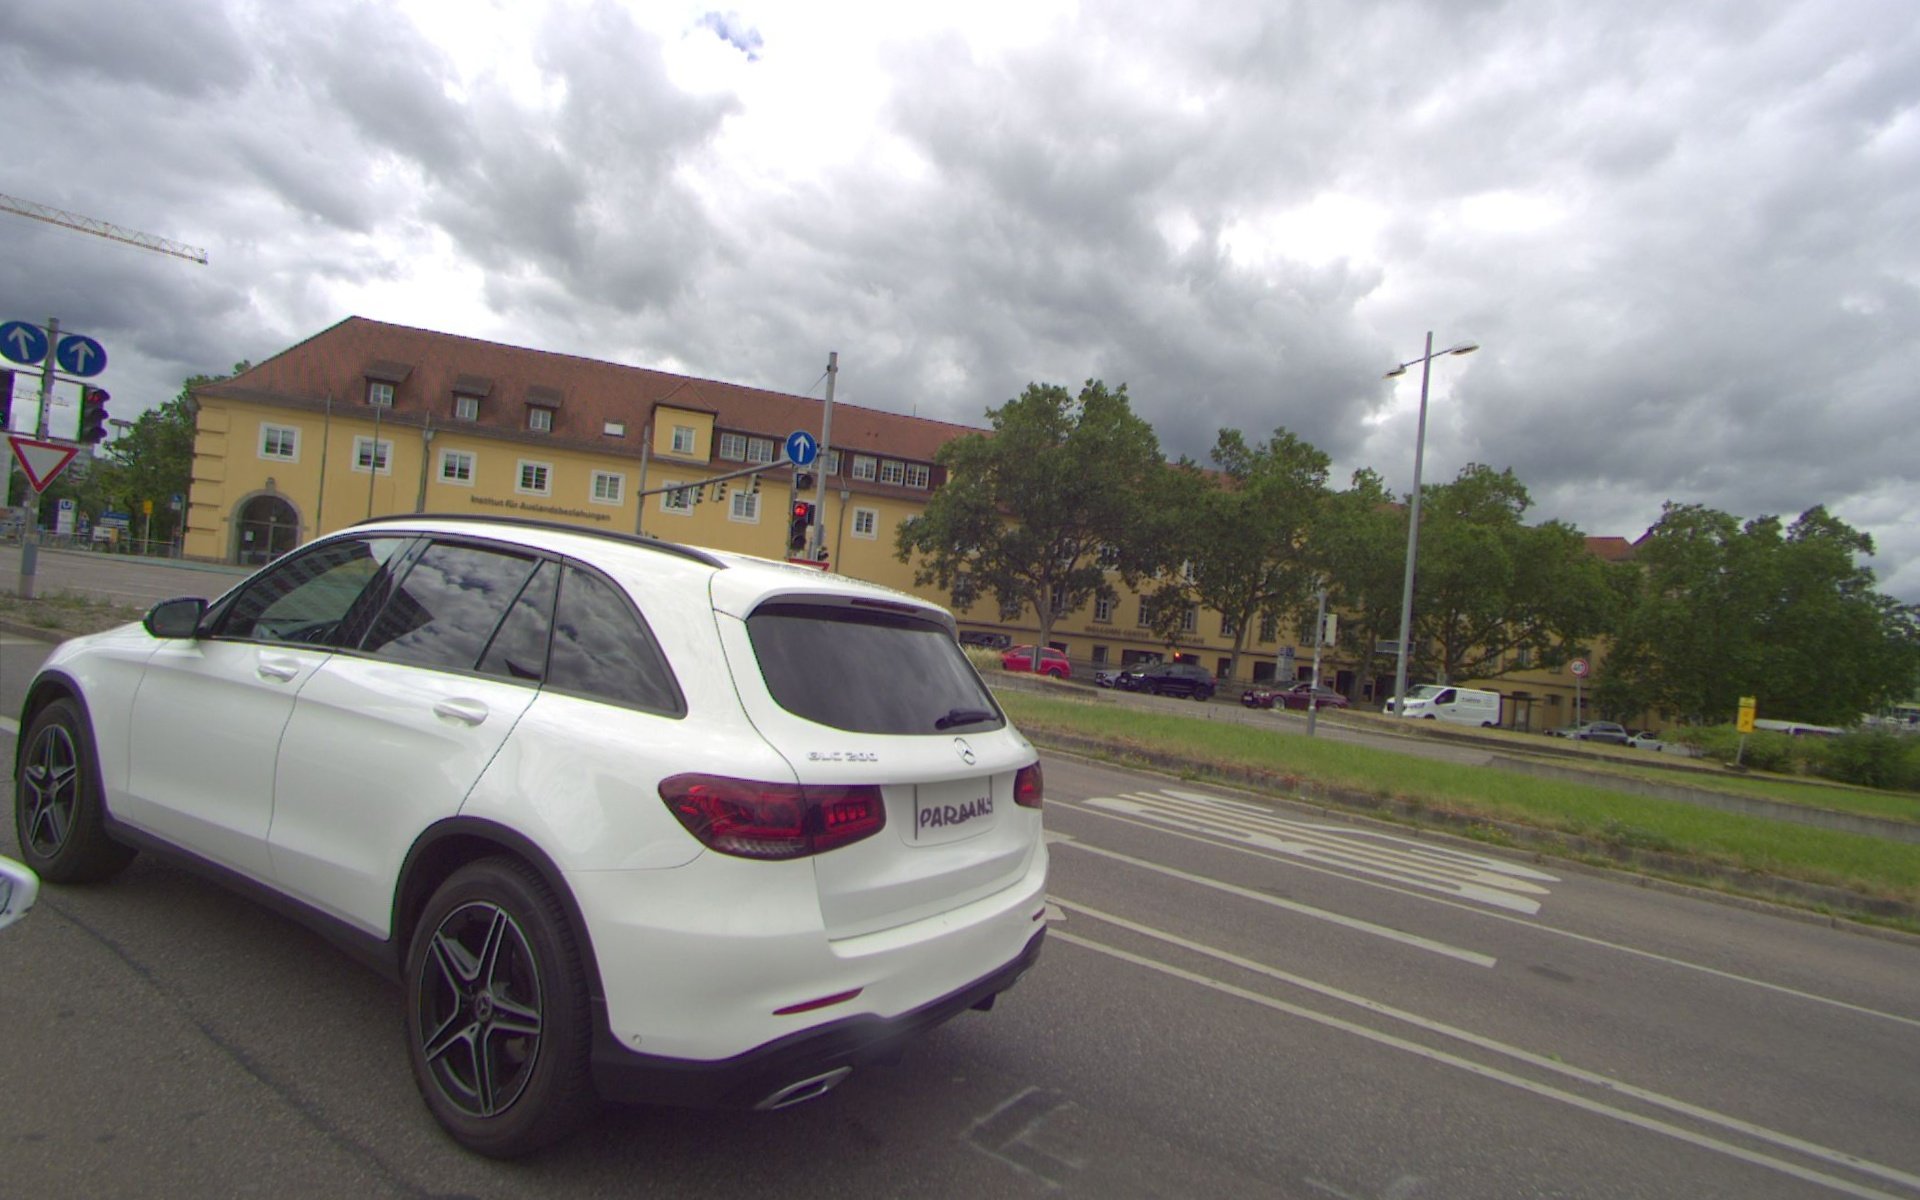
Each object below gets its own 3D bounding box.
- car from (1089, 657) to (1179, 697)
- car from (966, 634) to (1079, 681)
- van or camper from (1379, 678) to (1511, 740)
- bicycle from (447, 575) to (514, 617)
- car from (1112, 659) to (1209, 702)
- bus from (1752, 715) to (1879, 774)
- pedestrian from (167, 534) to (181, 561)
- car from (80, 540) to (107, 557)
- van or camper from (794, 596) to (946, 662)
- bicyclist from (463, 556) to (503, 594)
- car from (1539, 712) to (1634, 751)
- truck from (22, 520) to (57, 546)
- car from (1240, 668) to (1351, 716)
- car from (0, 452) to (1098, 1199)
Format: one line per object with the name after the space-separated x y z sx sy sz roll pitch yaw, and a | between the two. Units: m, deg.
8.639 3.815 49.908 4.032 1.430 1.652 8 -1 -20 | car
2.755 2.543 44.418 4.627 1.437 1.590 8 -1 -20 | car
19.823 4.457 41.114 5.081 1.913 1.652 8 -1 -20 | van or camper
-16.961 -0.159 35.552 2.426 1.172 0.924 6 -2 34 | bicycle
9.348 3.752 46.883 4.032 1.430 1.652 8 -1 -20 | car
57.196 9.681 67.186 9.549 2.884 2.556 8 -1 -25 | bus
-50.320 -3.355 64.405 0.539 1.616 0.735 8 -1 -36 | pedestrian
-127.830 -7.576 148.362 3.937 2.037 1.995 6 -1 35 | car
-3.796 1.217 42.303 5.933 2.037 2.013 8 -1 -16 | van or camper
-16.861 -0.891 35.555 0.714 1.172 0.924 7 -2 34 | bicyclist
32.402 6.815 52.006 4.489 1.437 1.652 8 -1 -20 | car
-102.310 -7.455 111.899 2.117 2.482 4.781 8 -1 -36 | truck
13.999 3.842 41.951 4.187 1.437 1.652 8 -1 -20 | car
-1.886 0.501 3.990 4.305 1.667 1.822 7 -1 31 | car
